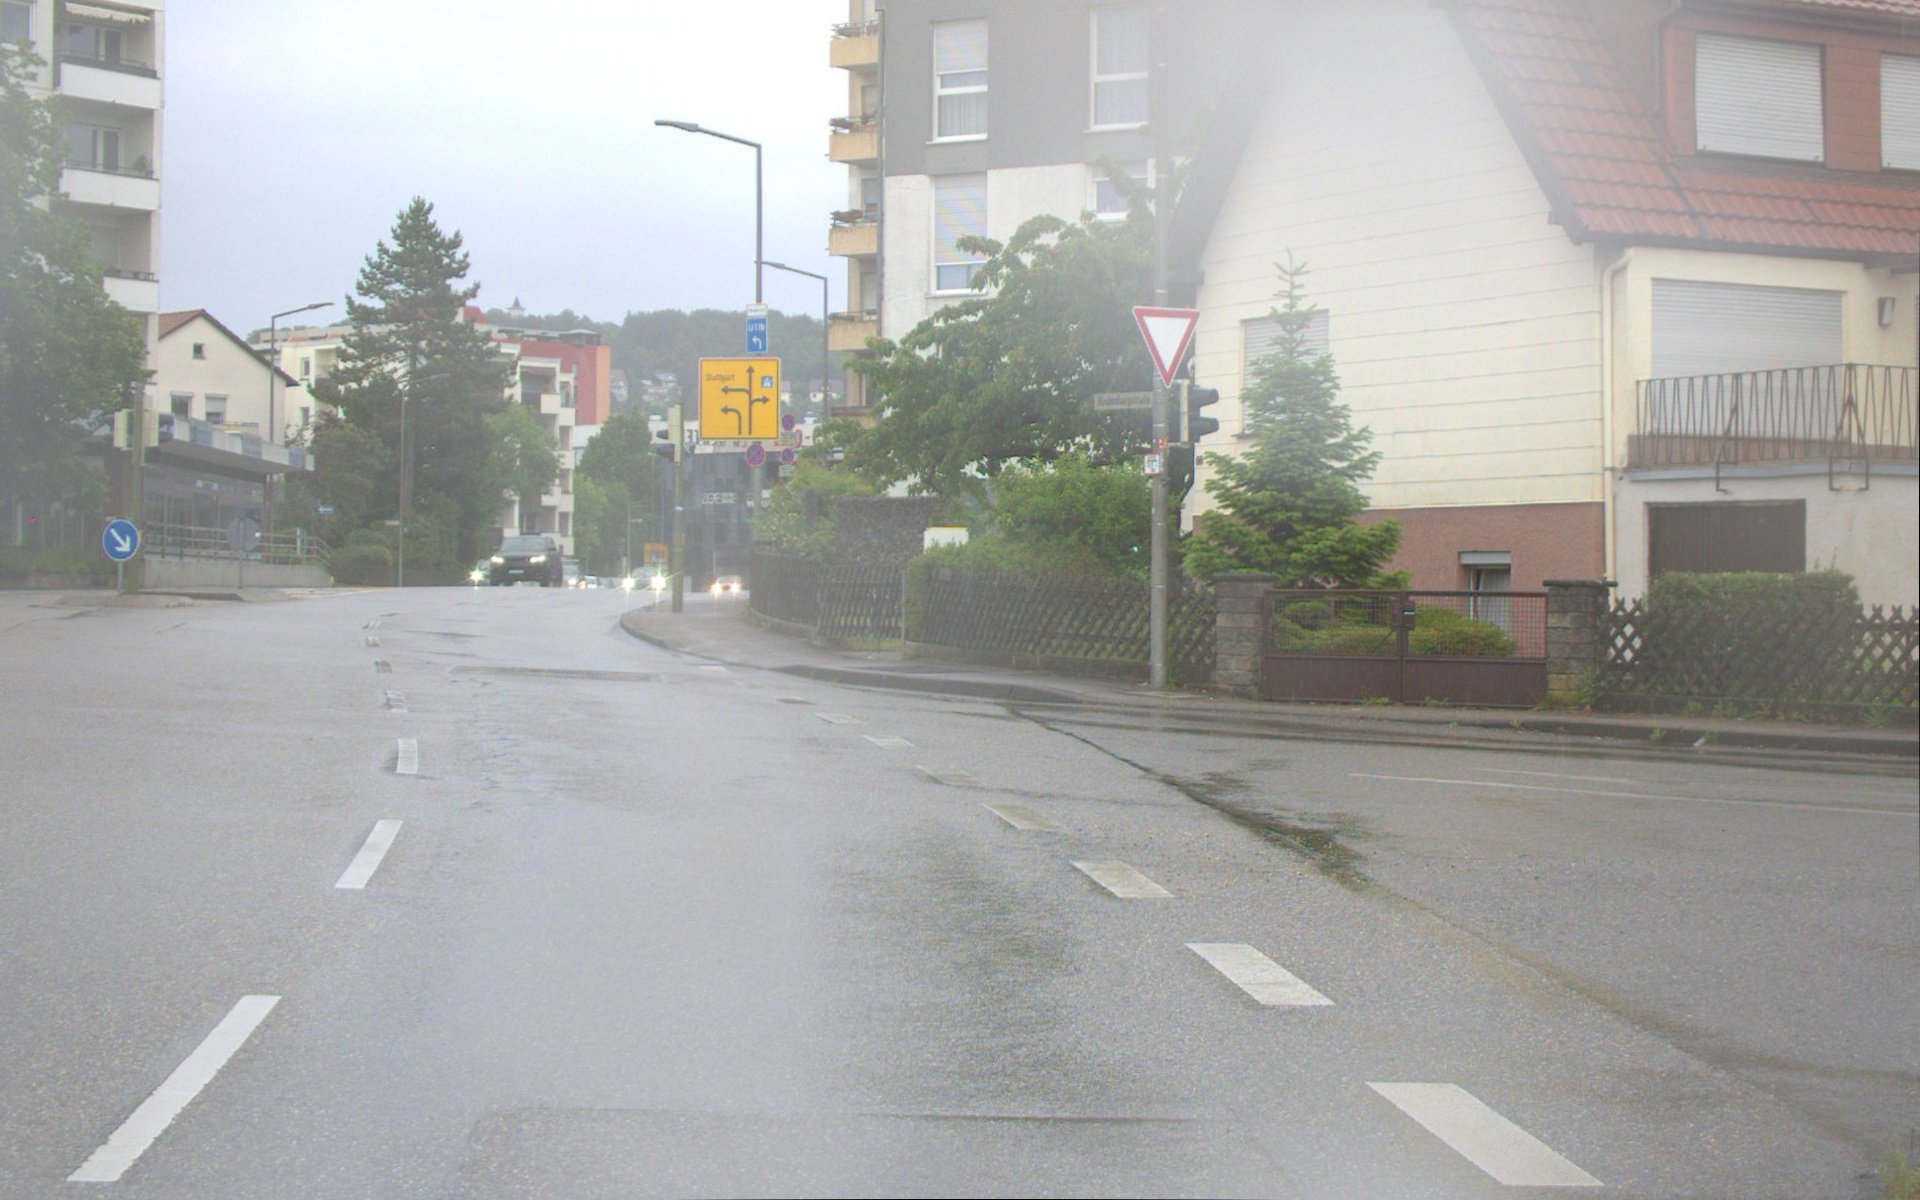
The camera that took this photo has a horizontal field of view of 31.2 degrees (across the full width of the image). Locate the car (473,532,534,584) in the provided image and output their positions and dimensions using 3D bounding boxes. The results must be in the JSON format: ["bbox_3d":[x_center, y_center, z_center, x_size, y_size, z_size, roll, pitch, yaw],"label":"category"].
[{"bbox_3d":[-15.882,-1.464,119.796,1.993,1.731,5.182,1,1,-7],"label":"car"}]

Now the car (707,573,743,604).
[{"bbox_3d":[-14.028,-0.679,205.005,1.993,1.805,4.001,1,1,-5],"label":"car"}]

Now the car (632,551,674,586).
[{"bbox_3d":[-14.913,-1.522,167.090,1.993,1.673,4.001,1,1,-5],"label":"car"}]

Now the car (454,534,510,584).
[{"bbox_3d":[-18.861,-1.625,135.811,1.993,1.897,4.001,1,1,-5],"label":"car"}]
